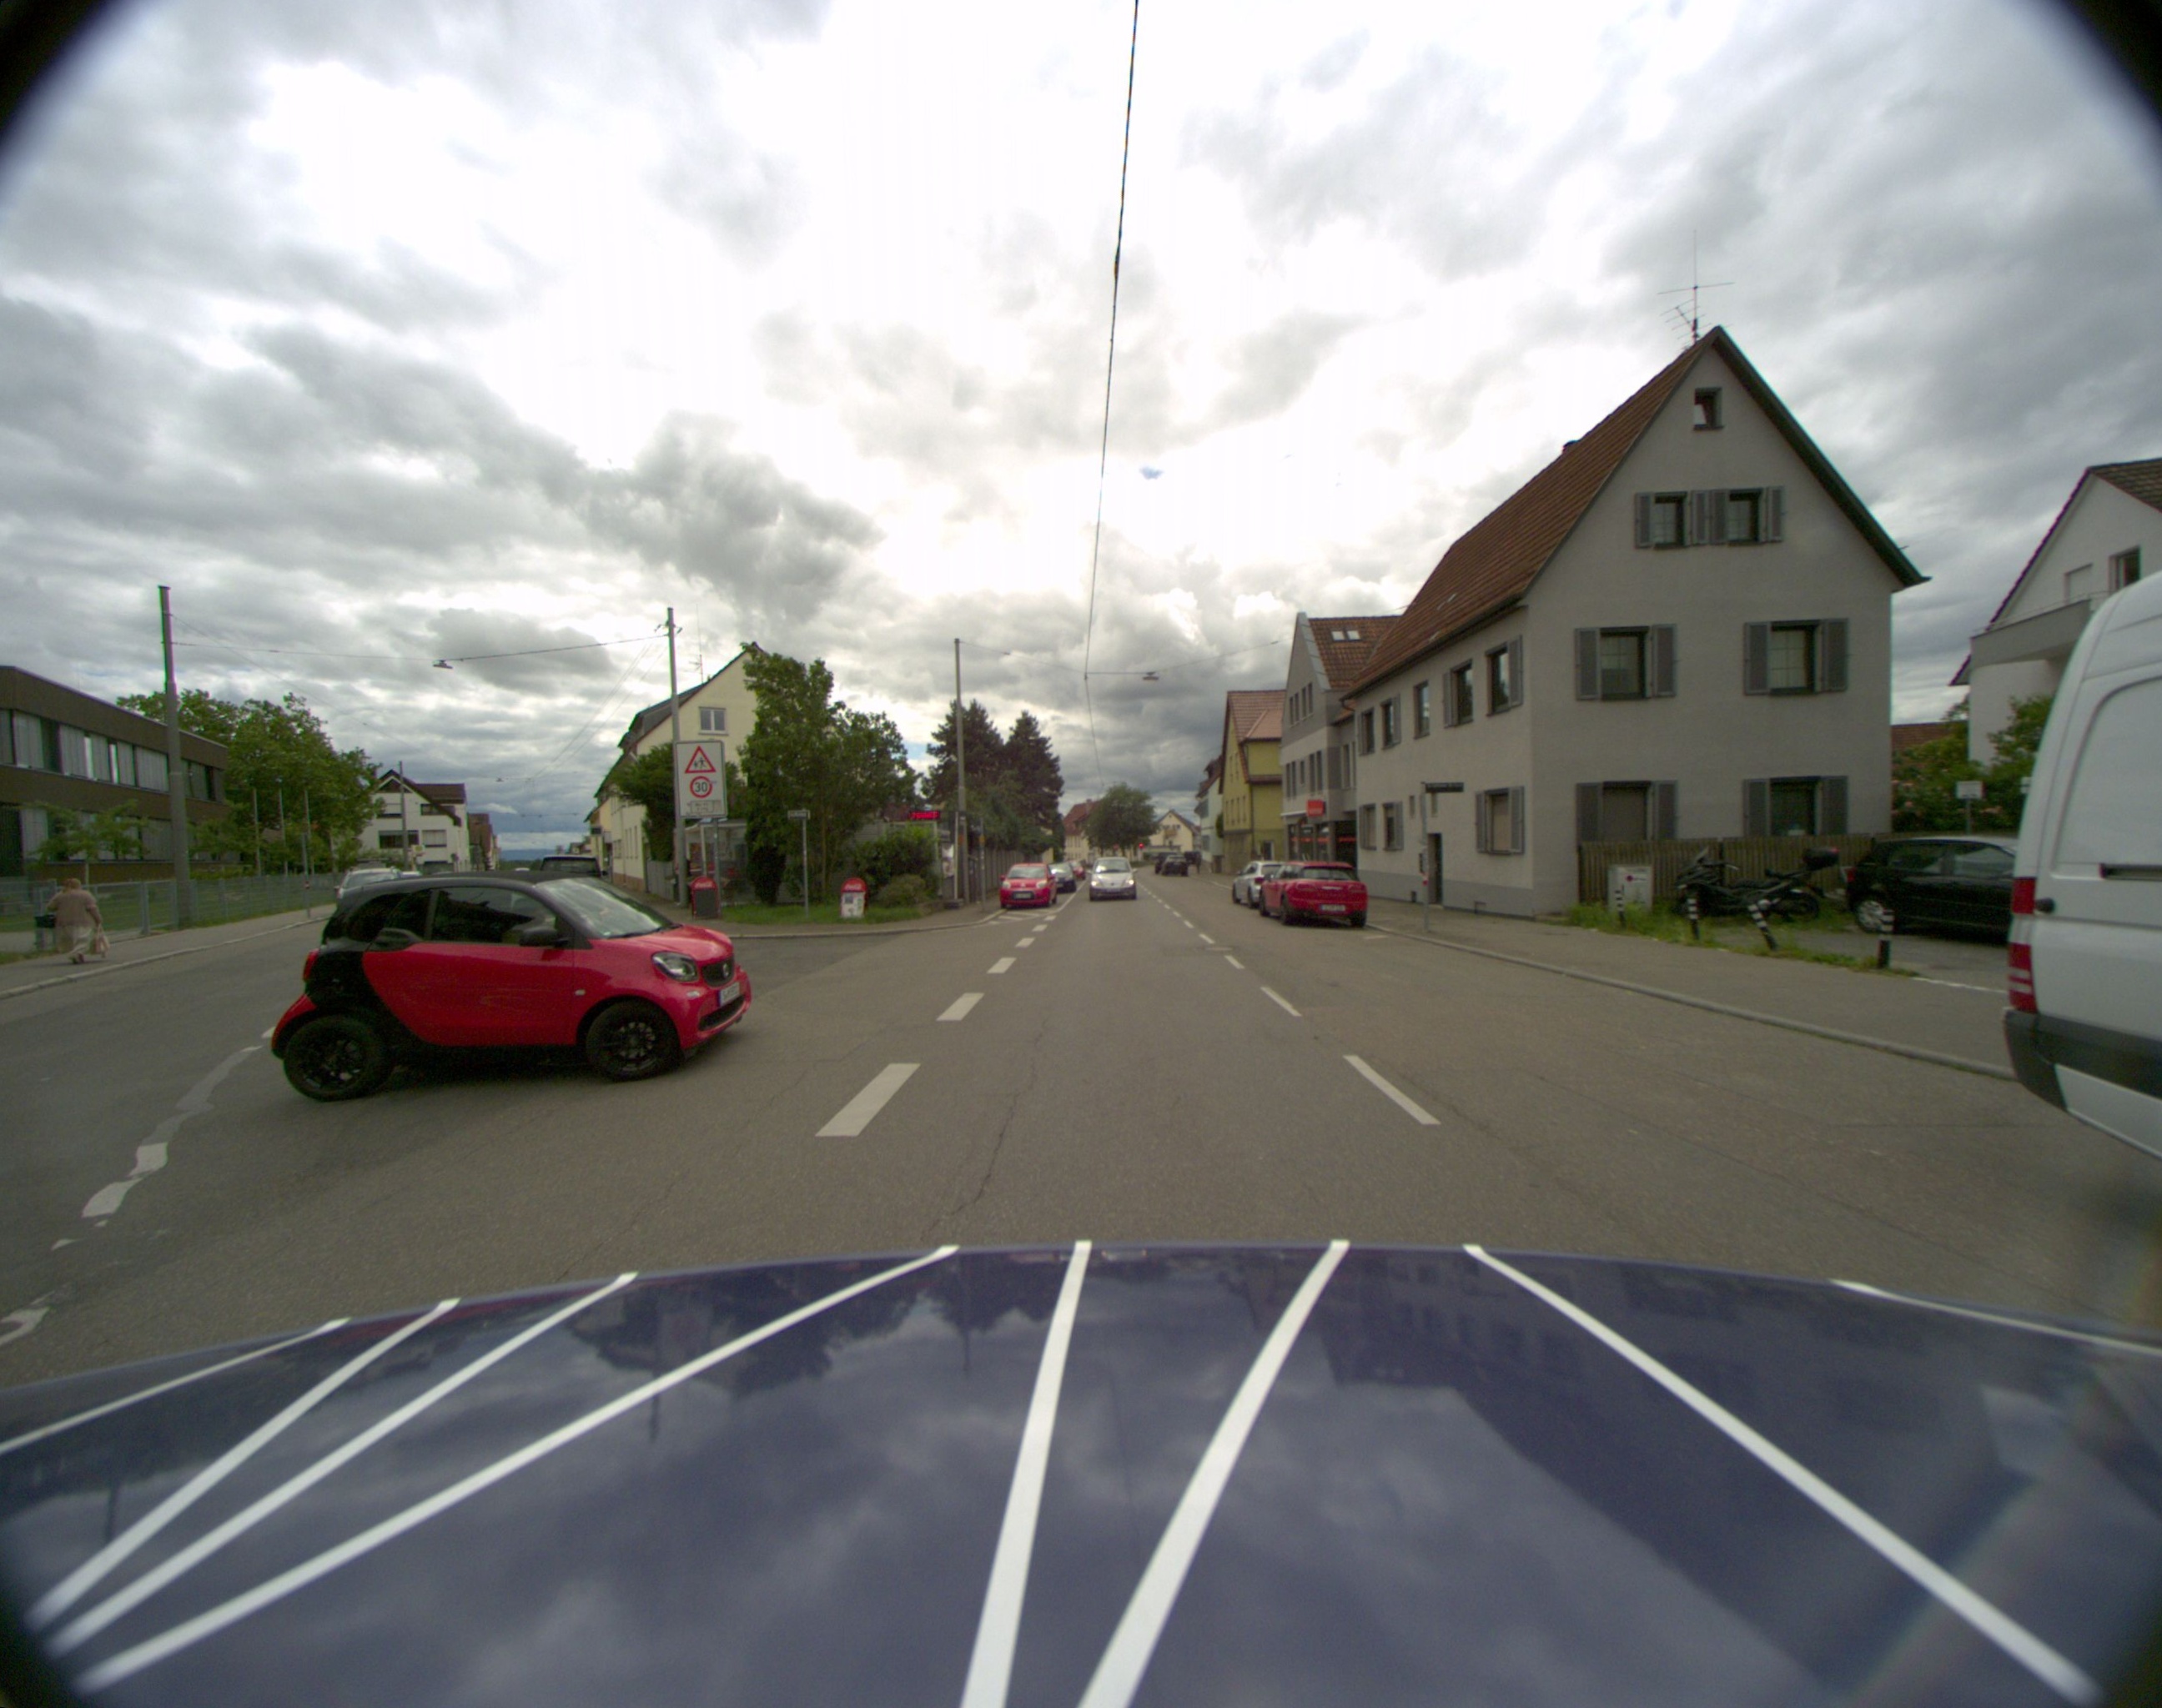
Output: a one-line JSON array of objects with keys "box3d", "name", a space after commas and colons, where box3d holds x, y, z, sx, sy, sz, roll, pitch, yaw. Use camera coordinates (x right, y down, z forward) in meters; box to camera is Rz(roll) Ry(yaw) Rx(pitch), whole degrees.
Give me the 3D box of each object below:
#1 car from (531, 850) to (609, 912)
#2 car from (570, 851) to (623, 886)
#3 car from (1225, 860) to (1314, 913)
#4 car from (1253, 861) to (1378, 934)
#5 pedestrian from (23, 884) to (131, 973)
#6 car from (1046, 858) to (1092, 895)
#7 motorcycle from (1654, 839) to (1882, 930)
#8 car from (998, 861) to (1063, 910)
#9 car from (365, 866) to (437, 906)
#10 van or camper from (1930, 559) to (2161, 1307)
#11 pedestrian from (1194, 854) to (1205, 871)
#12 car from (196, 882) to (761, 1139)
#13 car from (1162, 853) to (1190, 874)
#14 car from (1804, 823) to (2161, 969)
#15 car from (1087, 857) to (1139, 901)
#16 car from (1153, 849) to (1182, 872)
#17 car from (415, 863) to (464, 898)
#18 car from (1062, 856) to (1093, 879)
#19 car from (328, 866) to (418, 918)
[{"box3d": [-17.351, 0.846, 25.738, 2.004, 1.866, 4.382, -1, 0, -35], "name": "car"}, {"box3d": [-24.686, 0.703, 38.637, 2.004, 1.663, 4.382, -1, 0, -35], "name": "car"}, {"box3d": [5.813, 0.944, 23.949, 1.782, 1.465, 4.352, 1, 0, 1], "name": "car"}, {"box3d": [5.469, 0.946, 18.293, 1.863, 1.465, 4.353, 1, 0, 3], "name": "car"}, {"box3d": [-18.723, 1.360, 14.207, 0.902, 1.527, 0.957, -3, 1, -34], "name": "pedestrian"}, {"box3d": [-0.513, 1.015, 36.203, 1.818, 1.472, 4.001, -5, 0, 3], "name": "car"}, {"box3d": [11.741, 0.513, 13.121, 2.828, 1.465, 0.838, -1, 1, 19], "name": "motorcycle"}, {"box3d": [-1.645, 1.033, 26.092, 1.718, 1.472, 4.001, -1, 0, 3], "name": "car"}, {"box3d": [-30.301, 1.386, 33.988, 2.004, 1.595, 4.381, -1, 0, -37], "name": "car"}, {"box3d": [4.316, 0.277, 0.263, 2.322, 2.592, 6.214, -1, 0, 15], "name": "van or camper"}, {"box3d": [9.638, 0.674, 62.011, 0.832, 1.368, 0.551, -1, 1, 3], "name": "pedestrian"}, {"box3d": [-4.338, 1.047, 6.005, 2.939, 1.511, 1.819, -1, 0, -9], "name": "car"}, {"box3d": [7.290, 0.713, 58.726, 1.718, 1.559, 4.352, -1, 0, 2], "name": "car"}, {"box3d": [12.980, 0.436, 10.433, 1.998, 1.543, 4.416, -3, 0, 3], "name": "car"}, {"box3d": [1.206, 0.896, 29.284, 1.858, 1.547, 4.352, -1, 0, 2], "name": "car"}, {"box3d": [7.423, 0.549, 65.295, 2.111, 1.838, 4.352, -1, 0, 2], "name": "car"}, {"box3d": [-39.780, 1.582, 47.219, 2.004, 2.002, 4.381, -1, 0, -37], "name": "car"}, {"box3d": [-0.232, 0.937, 55.660, 1.995, 1.490, 4.352, -4, 0, 2], "name": "car"}, {"box3d": [-26.627, 1.354, 28.725, 2.004, 1.731, 4.381, -1, 0, -37], "name": "car"}]
